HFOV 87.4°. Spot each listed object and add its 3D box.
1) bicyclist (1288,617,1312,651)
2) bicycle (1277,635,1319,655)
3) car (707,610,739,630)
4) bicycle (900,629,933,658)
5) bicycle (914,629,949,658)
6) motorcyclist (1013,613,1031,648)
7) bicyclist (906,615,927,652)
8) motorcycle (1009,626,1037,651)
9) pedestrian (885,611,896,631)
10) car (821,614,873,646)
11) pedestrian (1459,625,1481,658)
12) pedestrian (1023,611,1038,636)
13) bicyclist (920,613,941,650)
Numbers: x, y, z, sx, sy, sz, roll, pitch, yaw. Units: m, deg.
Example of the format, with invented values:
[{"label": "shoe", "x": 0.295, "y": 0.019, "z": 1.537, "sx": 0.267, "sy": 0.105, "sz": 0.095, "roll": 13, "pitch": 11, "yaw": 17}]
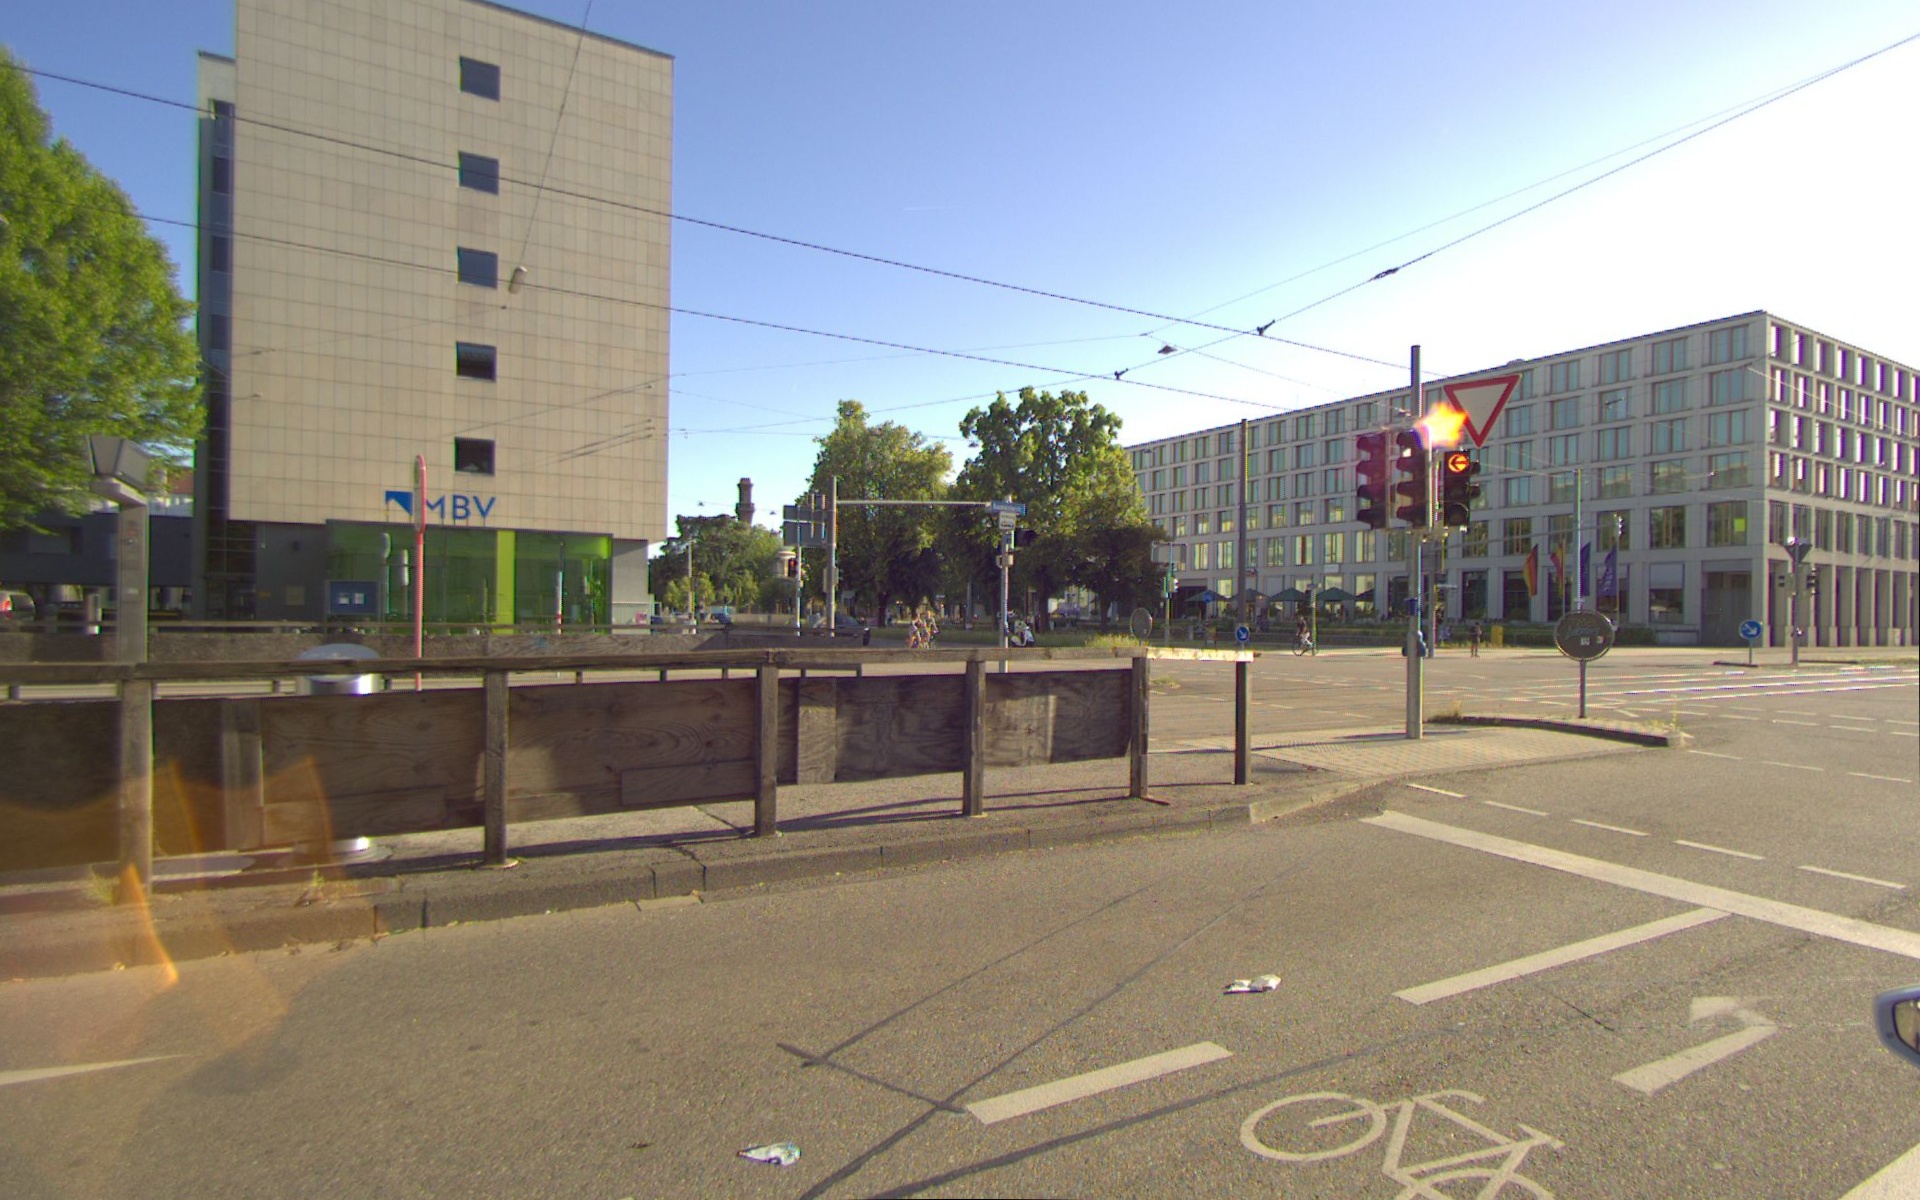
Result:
[{"label": "bicyclist", "x": 16.419, "y": 1.630, "z": 48.540, "sx": 0.766, "sy": 1.610, "sz": 0.758, "roll": 1, "pitch": -1, "yaw": -20}, {"label": "bicycle", "x": 16.336, "y": 2.188, "z": 48.547, "sx": 1.834, "sy": 0.947, "sz": 0.760, "roll": 1, "pitch": -1, "yaw": -18}, {"label": "car", "x": -20.892, "y": 1.764, "z": 88.356, "sx": 1.613, "sy": 1.639, "sz": 3.618, "roll": 2, "pitch": 0, "yaw": -32}, {"label": "bicycle", "x": -1.830, "y": 1.789, "z": 41.712, "sx": 0.574, "sy": 1.148, "sz": 1.776, "roll": 1, "pitch": -1, "yaw": -31}, {"label": "bicycle", "x": -1.218, "y": 1.818, "z": 42.134, "sx": 0.616, "sy": 1.148, "sz": 1.869, "roll": 1, "pitch": -1, "yaw": -31}, {"label": "motorcyclist", "x": 2.907, "y": 1.409, "z": 46.827, "sx": 0.561, "sy": 1.598, "sz": 0.643, "roll": 1, "pitch": -1, "yaw": -33}, {"label": "bicyclist", "x": -1.809, "y": 1.393, "z": 41.688, "sx": 0.647, "sy": 1.544, "sz": 0.615, "roll": 1, "pitch": -1, "yaw": -32}, {"label": "motorcycle", "x": 2.908, "y": 1.787, "z": 46.793, "sx": 0.524, "sy": 1.153, "sz": 1.449, "roll": 1, "pitch": -1, "yaw": -34}, {"label": "pedestrian", "x": -7.069, "y": 2.163, "z": 102.638, "sx": 0.815, "sy": 2.040, "sz": 0.838, "roll": 2, "pitch": 0, "yaw": -31}, {"label": "car", "x": -6.303, "y": 1.653, "z": 55.717, "sx": 1.611, "sy": 1.639, "sz": 3.623, "roll": 2, "pitch": 0, "yaw": -28}, {"label": "pedestrian", "x": 24.933, "y": 2.013, "z": 49.144, "sx": 0.584, "sy": 1.610, "sz": 0.771, "roll": 1, "pitch": -1, "yaw": -30}, {"label": "pedestrian", "x": 5.605, "y": 1.841, "z": 79.617, "sx": 0.865, "sy": 1.925, "sz": 0.712, "roll": 2, "pitch": 0, "yaw": -31}, {"label": "bicyclist", "x": -1.253, "y": 1.332, "z": 42.213, "sx": 0.602, "sy": 1.544, "sz": 0.709, "roll": 1, "pitch": -1, "yaw": -32}]
